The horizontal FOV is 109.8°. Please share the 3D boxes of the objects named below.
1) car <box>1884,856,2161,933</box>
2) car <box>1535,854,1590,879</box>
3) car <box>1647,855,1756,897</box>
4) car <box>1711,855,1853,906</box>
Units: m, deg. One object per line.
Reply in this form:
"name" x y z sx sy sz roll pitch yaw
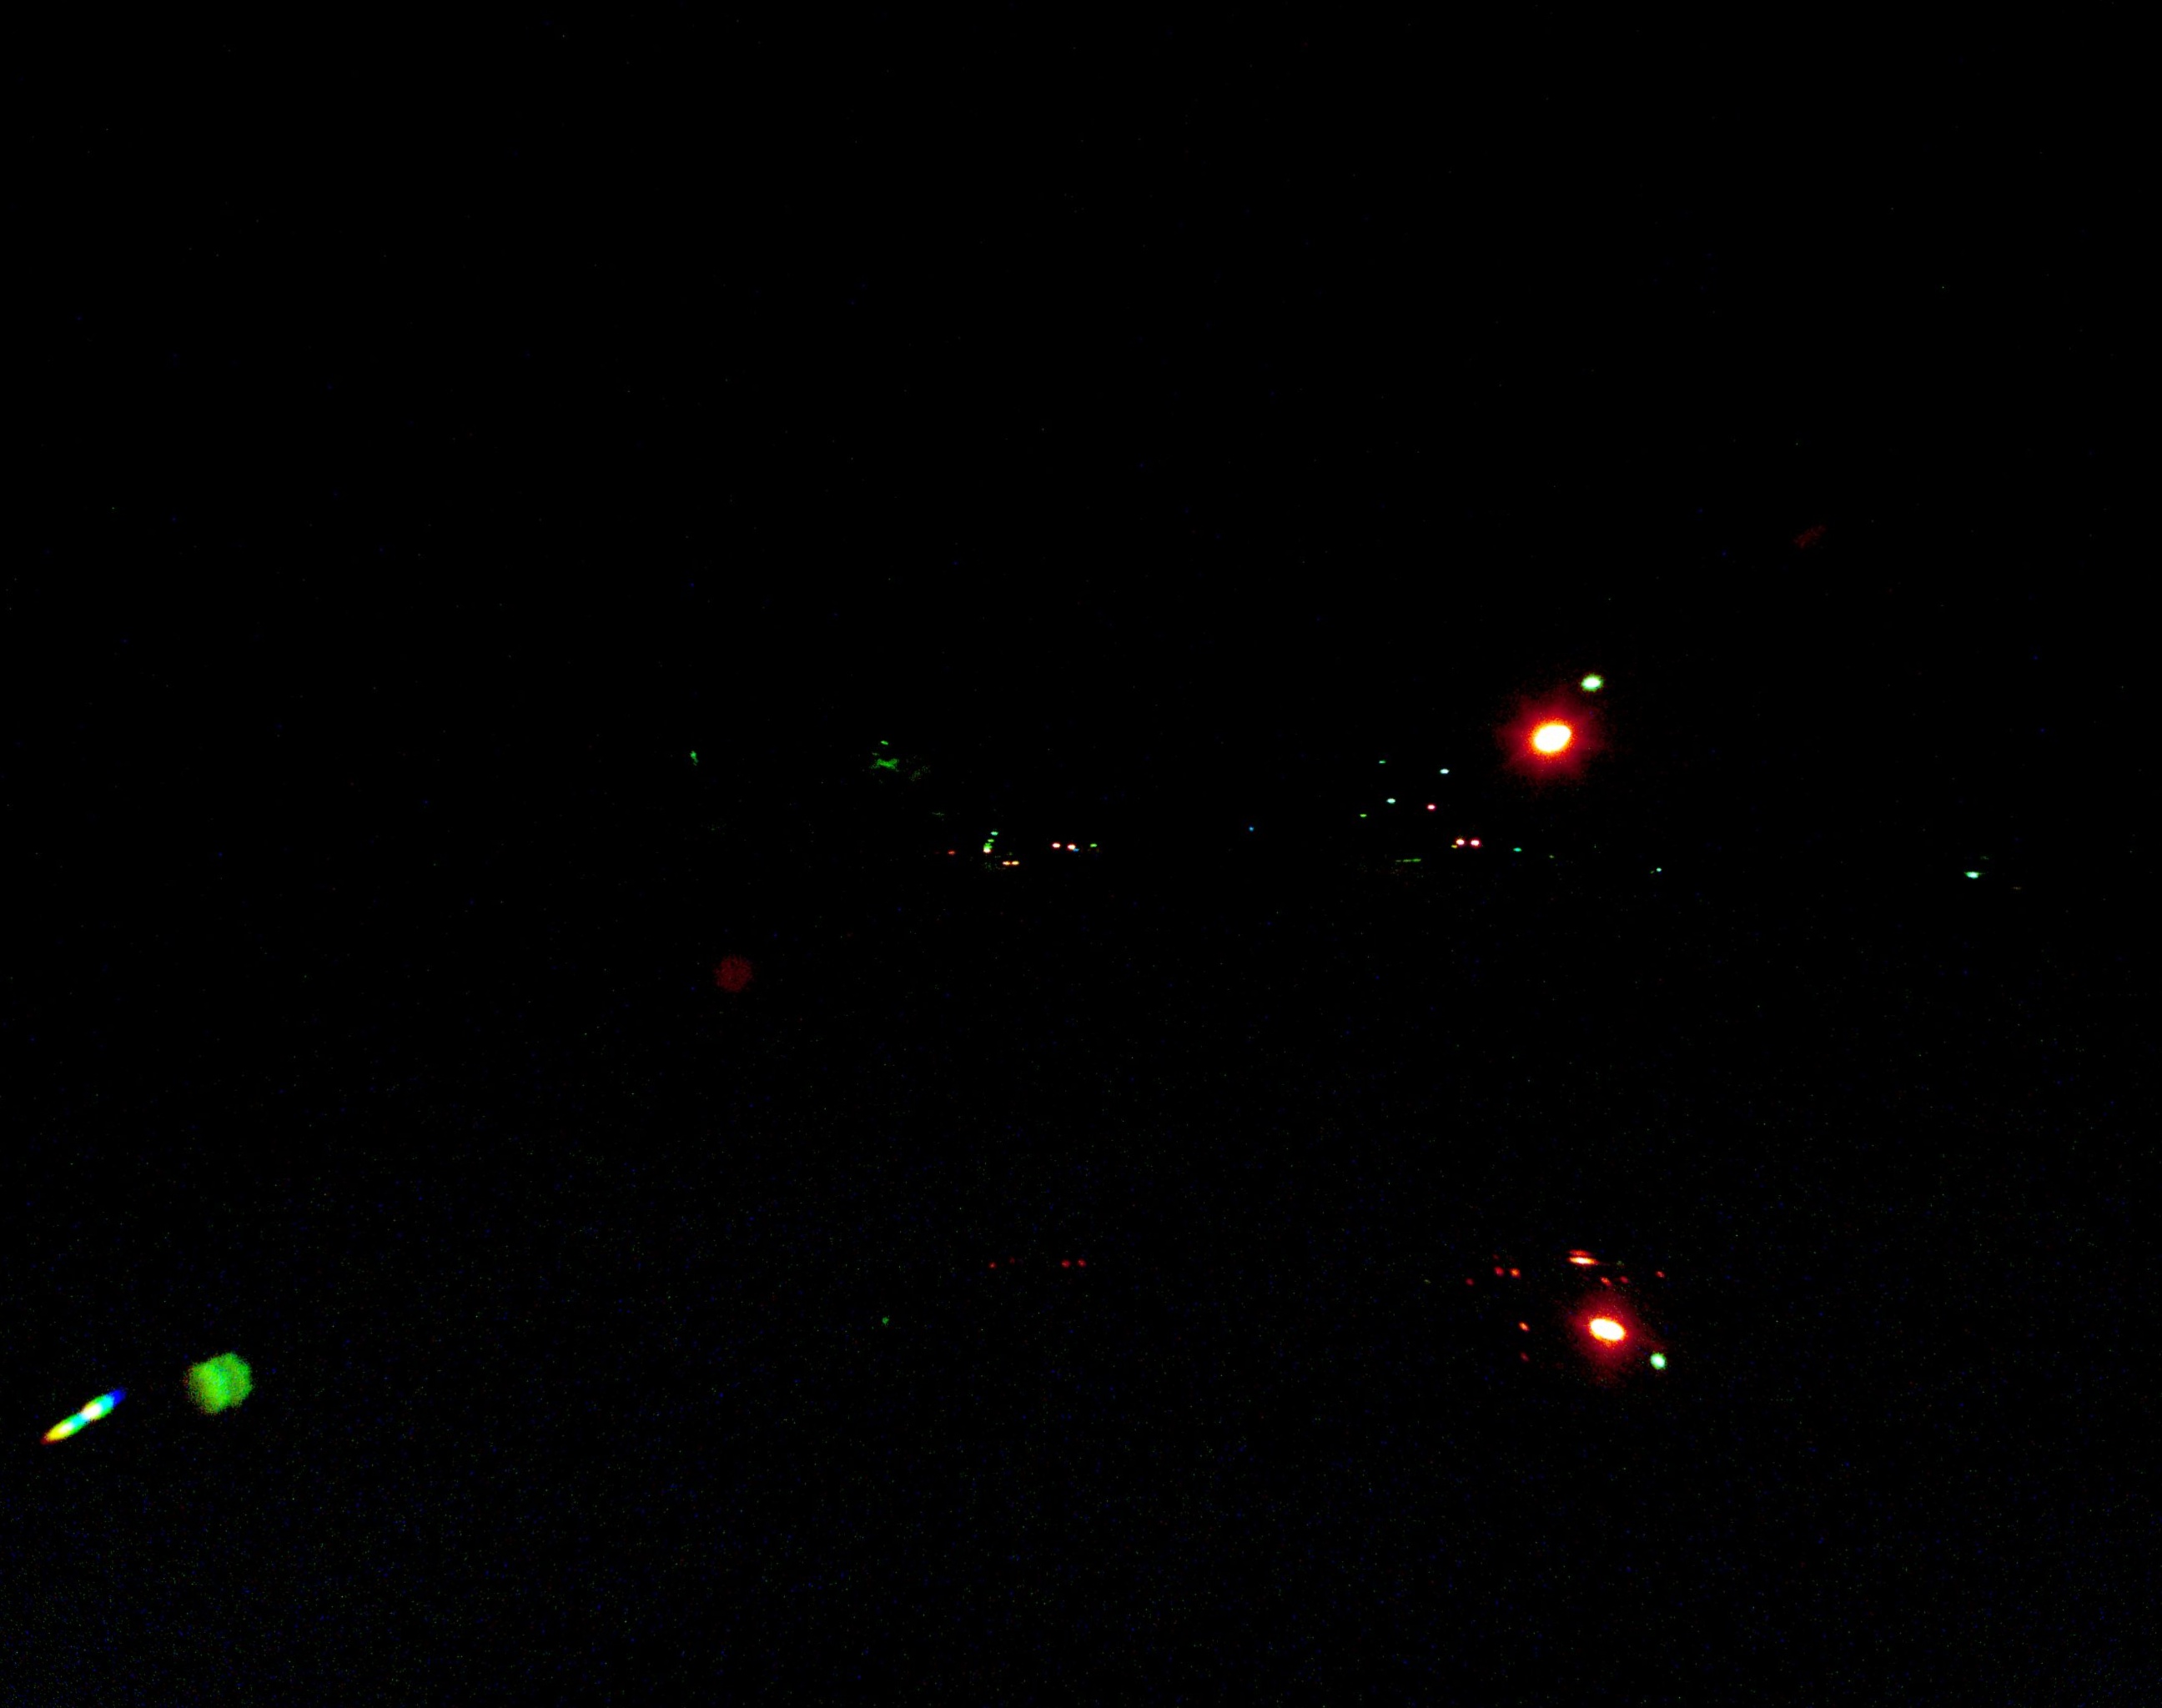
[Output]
"car" 20.525 0.796 16.679 1.863 1.425 4.408 -2 0 14
"car" 28.659 0.712 45.322 1.631 1.455 3.518 0 0 12
"car" 23.894 0.803 29.475 1.640 1.425 4.355 -3 -1 16
"car" 22.571 0.794 24.690 1.553 1.425 4.353 -3 -1 16
